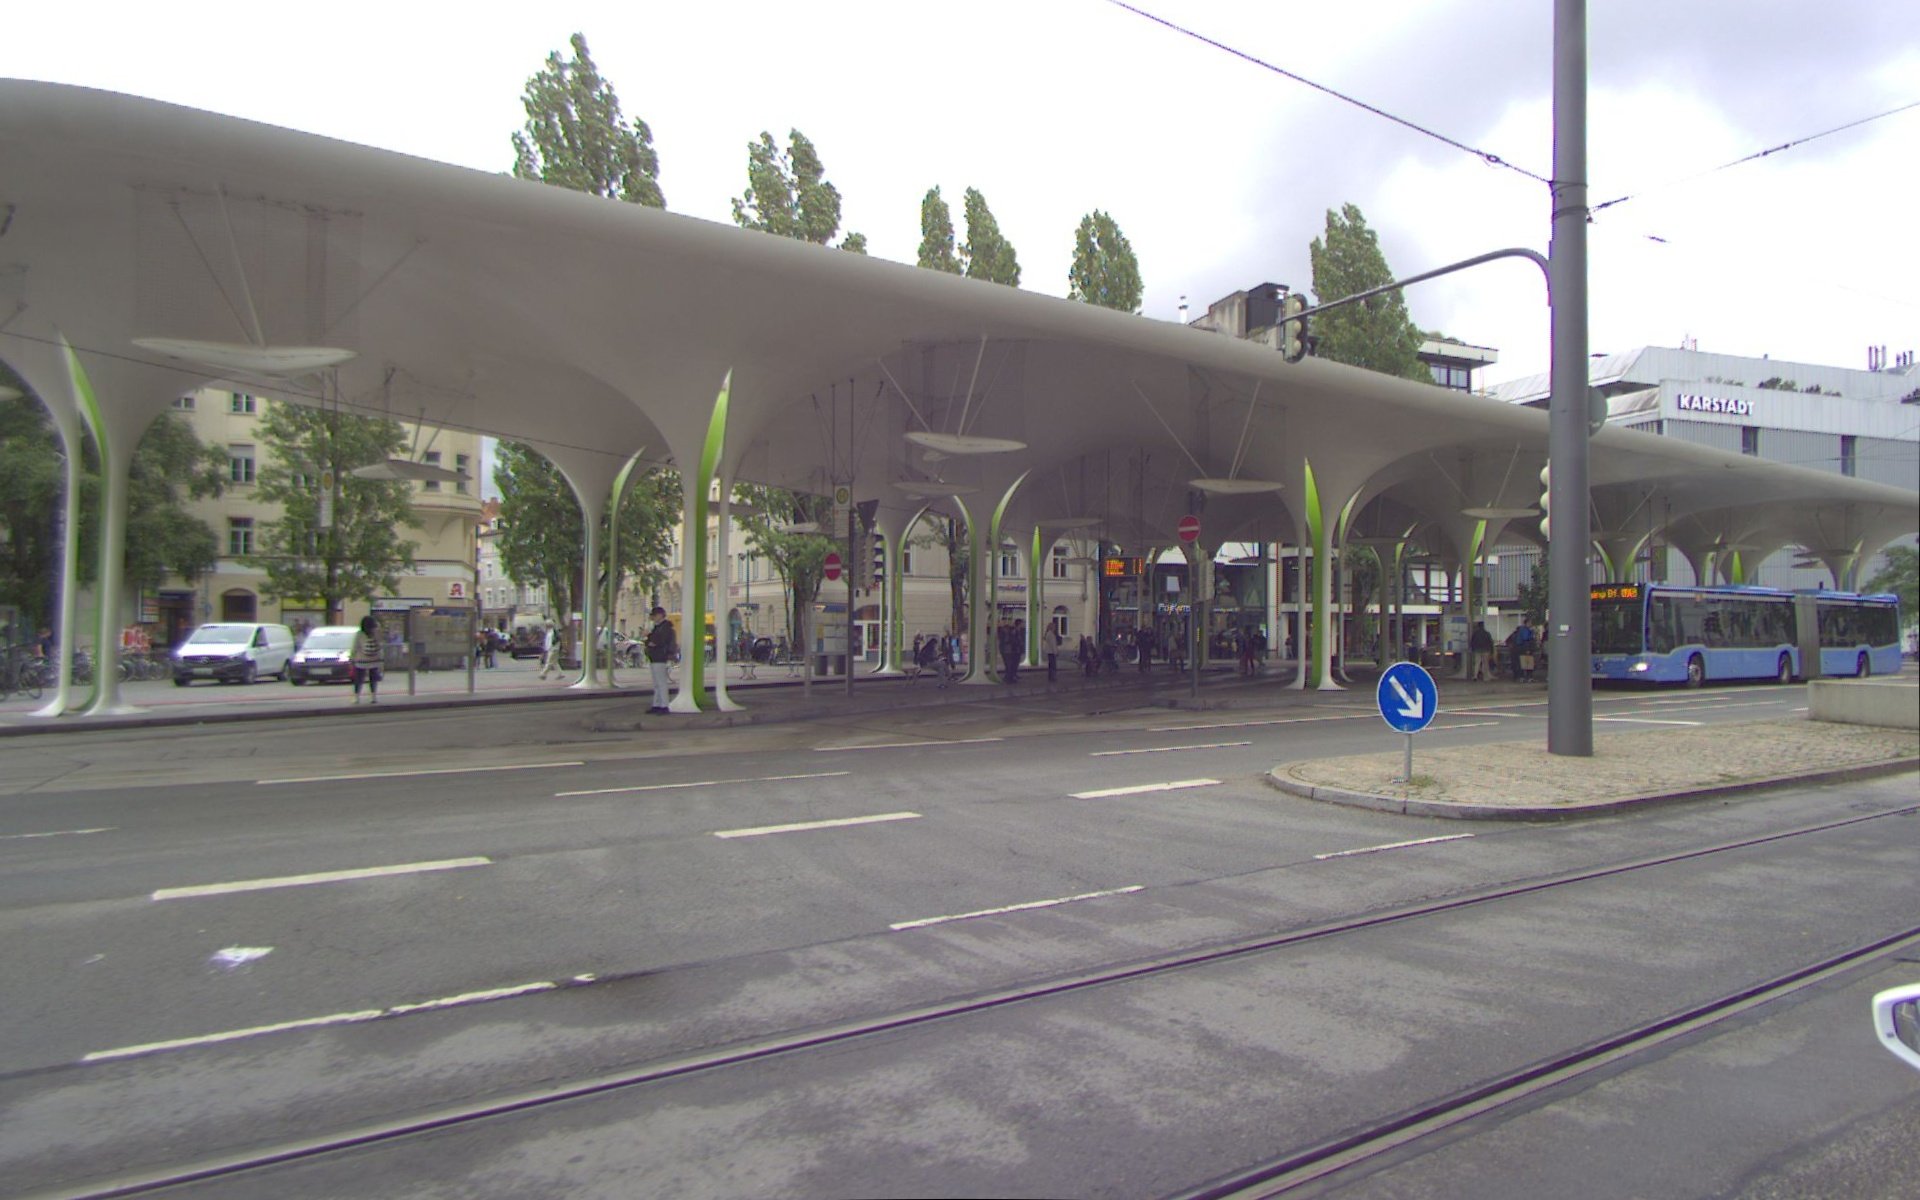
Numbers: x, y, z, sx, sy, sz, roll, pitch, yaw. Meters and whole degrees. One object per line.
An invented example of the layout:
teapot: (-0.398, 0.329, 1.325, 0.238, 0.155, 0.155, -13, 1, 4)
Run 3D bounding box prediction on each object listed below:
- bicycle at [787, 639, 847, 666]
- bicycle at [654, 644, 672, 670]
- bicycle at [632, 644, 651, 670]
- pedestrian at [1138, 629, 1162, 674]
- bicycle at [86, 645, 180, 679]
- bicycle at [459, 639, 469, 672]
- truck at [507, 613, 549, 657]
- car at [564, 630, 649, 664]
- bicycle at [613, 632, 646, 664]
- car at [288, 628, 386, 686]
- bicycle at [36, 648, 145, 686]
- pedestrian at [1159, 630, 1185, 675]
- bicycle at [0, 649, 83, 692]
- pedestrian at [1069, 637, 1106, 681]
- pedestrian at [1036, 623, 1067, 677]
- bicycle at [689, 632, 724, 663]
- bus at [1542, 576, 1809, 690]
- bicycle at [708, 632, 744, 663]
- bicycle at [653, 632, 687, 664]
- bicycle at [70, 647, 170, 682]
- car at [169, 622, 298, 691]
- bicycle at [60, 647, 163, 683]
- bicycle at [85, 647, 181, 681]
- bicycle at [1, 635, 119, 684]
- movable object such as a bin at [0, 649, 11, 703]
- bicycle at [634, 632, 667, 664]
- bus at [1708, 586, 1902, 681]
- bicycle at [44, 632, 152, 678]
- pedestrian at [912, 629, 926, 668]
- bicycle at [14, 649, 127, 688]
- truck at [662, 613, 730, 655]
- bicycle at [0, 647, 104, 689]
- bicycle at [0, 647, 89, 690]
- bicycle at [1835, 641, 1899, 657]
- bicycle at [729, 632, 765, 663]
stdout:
bicycle: (-7.070, 2.601, 49.630, 2.886, 1.331, 0.841, 0, -1, -6)
bicycle: (-14.506, 2.772, 49.099, 0.726, 1.149, 2.677, 1, -2, -14)
bicycle: (-15.418, 2.752, 48.691, 0.726, 1.149, 2.677, 1, -2, -14)
pedestrian: (6.866, 1.850, 36.345, 0.652, 1.585, 0.640, -1, -2, 35)
bicycle: (-29.340, 2.188, 35.690, 2.494, 1.145, 0.639, 1, -2, -30)
bicycle: (-22.933, 2.564, 46.426, 0.292, 1.416, 1.131, 1, 1, -31)
truck: (-27.314, 2.198, 63.635, 2.259, 2.658, 5.324, 1, -2, -22)
car: (-21.113, 2.806, 60.005, 4.733, 1.945, 1.990, 1, -2, -22)
bicycle: (-17.606, 2.517, 53.424, 0.989, 1.634, 3.598, 1, -2, -29)
car: (-19.138, 1.699, 31.020, 1.804, 1.637, 3.981, 1, -2, -21)
bicycle: (-27.486, 2.092, 31.809, 2.494, 1.145, 0.639, 1, -1, -30)
pedestrian: (7.779, 1.921, 36.923, 0.690, 1.639, 0.644, 1, -2, -26)
bicycle: (-25.715, 1.913, 27.468, 2.494, 1.145, 0.639, 1, -2, -30)
pedestrian: (4.137, 1.907, 32.734, 0.829, 1.388, 0.961, 1, -1, -23)
pedestrian: (3.104, 1.684, 33.988, 0.772, 1.812, 0.760, 1, -1, -27)
bicycle: (-14.011, 2.594, 55.352, 0.989, 1.634, 3.598, 1, -2, -29)
bus: (21.965, 1.044, 30.560, 10.395, 3.046, 2.648, 1, -3, -31)
bicycle: (-13.026, 2.615, 55.842, 0.989, 1.634, 3.598, 1, -2, -29)
bicycle: (-15.737, 2.557, 54.407, 0.989, 1.634, 3.598, 1, -2, -29)
bicycle: (-28.266, 2.156, 33.862, 2.494, 1.145, 0.639, 1, -2, -30)
car: (-22.620, 1.696, 31.514, 1.841, 1.973, 4.911, 1, -2, -19)
bicycle: (-27.949, 2.128, 33.127, 2.494, 1.145, 0.639, 1, -2, -30)
bicycle: (-28.653, 2.213, 34.855, 2.494, 1.145, 0.639, 1, -2, -30)
bicycle: (-27.076, 1.780, 30.267, 2.533, 1.440, 0.631, 1, -2, -30)
movable object such as a bin: (-20.222, 1.572, 20.531, 0.947, 1.098, 1.325, 1, -2, -33)
bicycle: (-16.639, 2.538, 53.903, 0.989, 1.634, 3.598, 1, -2, -29)
bus: (29.632, 1.208, 35.154, 7.421, 3.046, 2.650, 1, -3, -29)
bicycle: (-27.742, 1.753, 32.400, 2.533, 1.440, 0.631, 1, -2, -30)
pedestrian: (-2.011, 2.350, 48.716, 0.546, 1.838, 0.556, 1, -1, -18)
bicycle: (-27.293, 2.078, 30.893, 2.494, 1.145, 0.639, 1, -2, -30)
truck: (-17.041, 2.194, 64.606, 2.412, 2.546, 7.126, 1, -2, -30)
bicycle: (-26.468, 1.959, 29.064, 2.494, 1.145, 0.639, 1, -2, -30)
bicycle: (-26.058, 1.902, 28.048, 2.494, 1.145, 0.639, 1, -2, -30)
bicycle: (67.229, 3.623, 74.540, 1.042, 1.172, 3.494, 1, -2, -16)
bicycle: (-11.999, 2.636, 56.494, 0.989, 1.634, 3.598, 1, -2, -29)
